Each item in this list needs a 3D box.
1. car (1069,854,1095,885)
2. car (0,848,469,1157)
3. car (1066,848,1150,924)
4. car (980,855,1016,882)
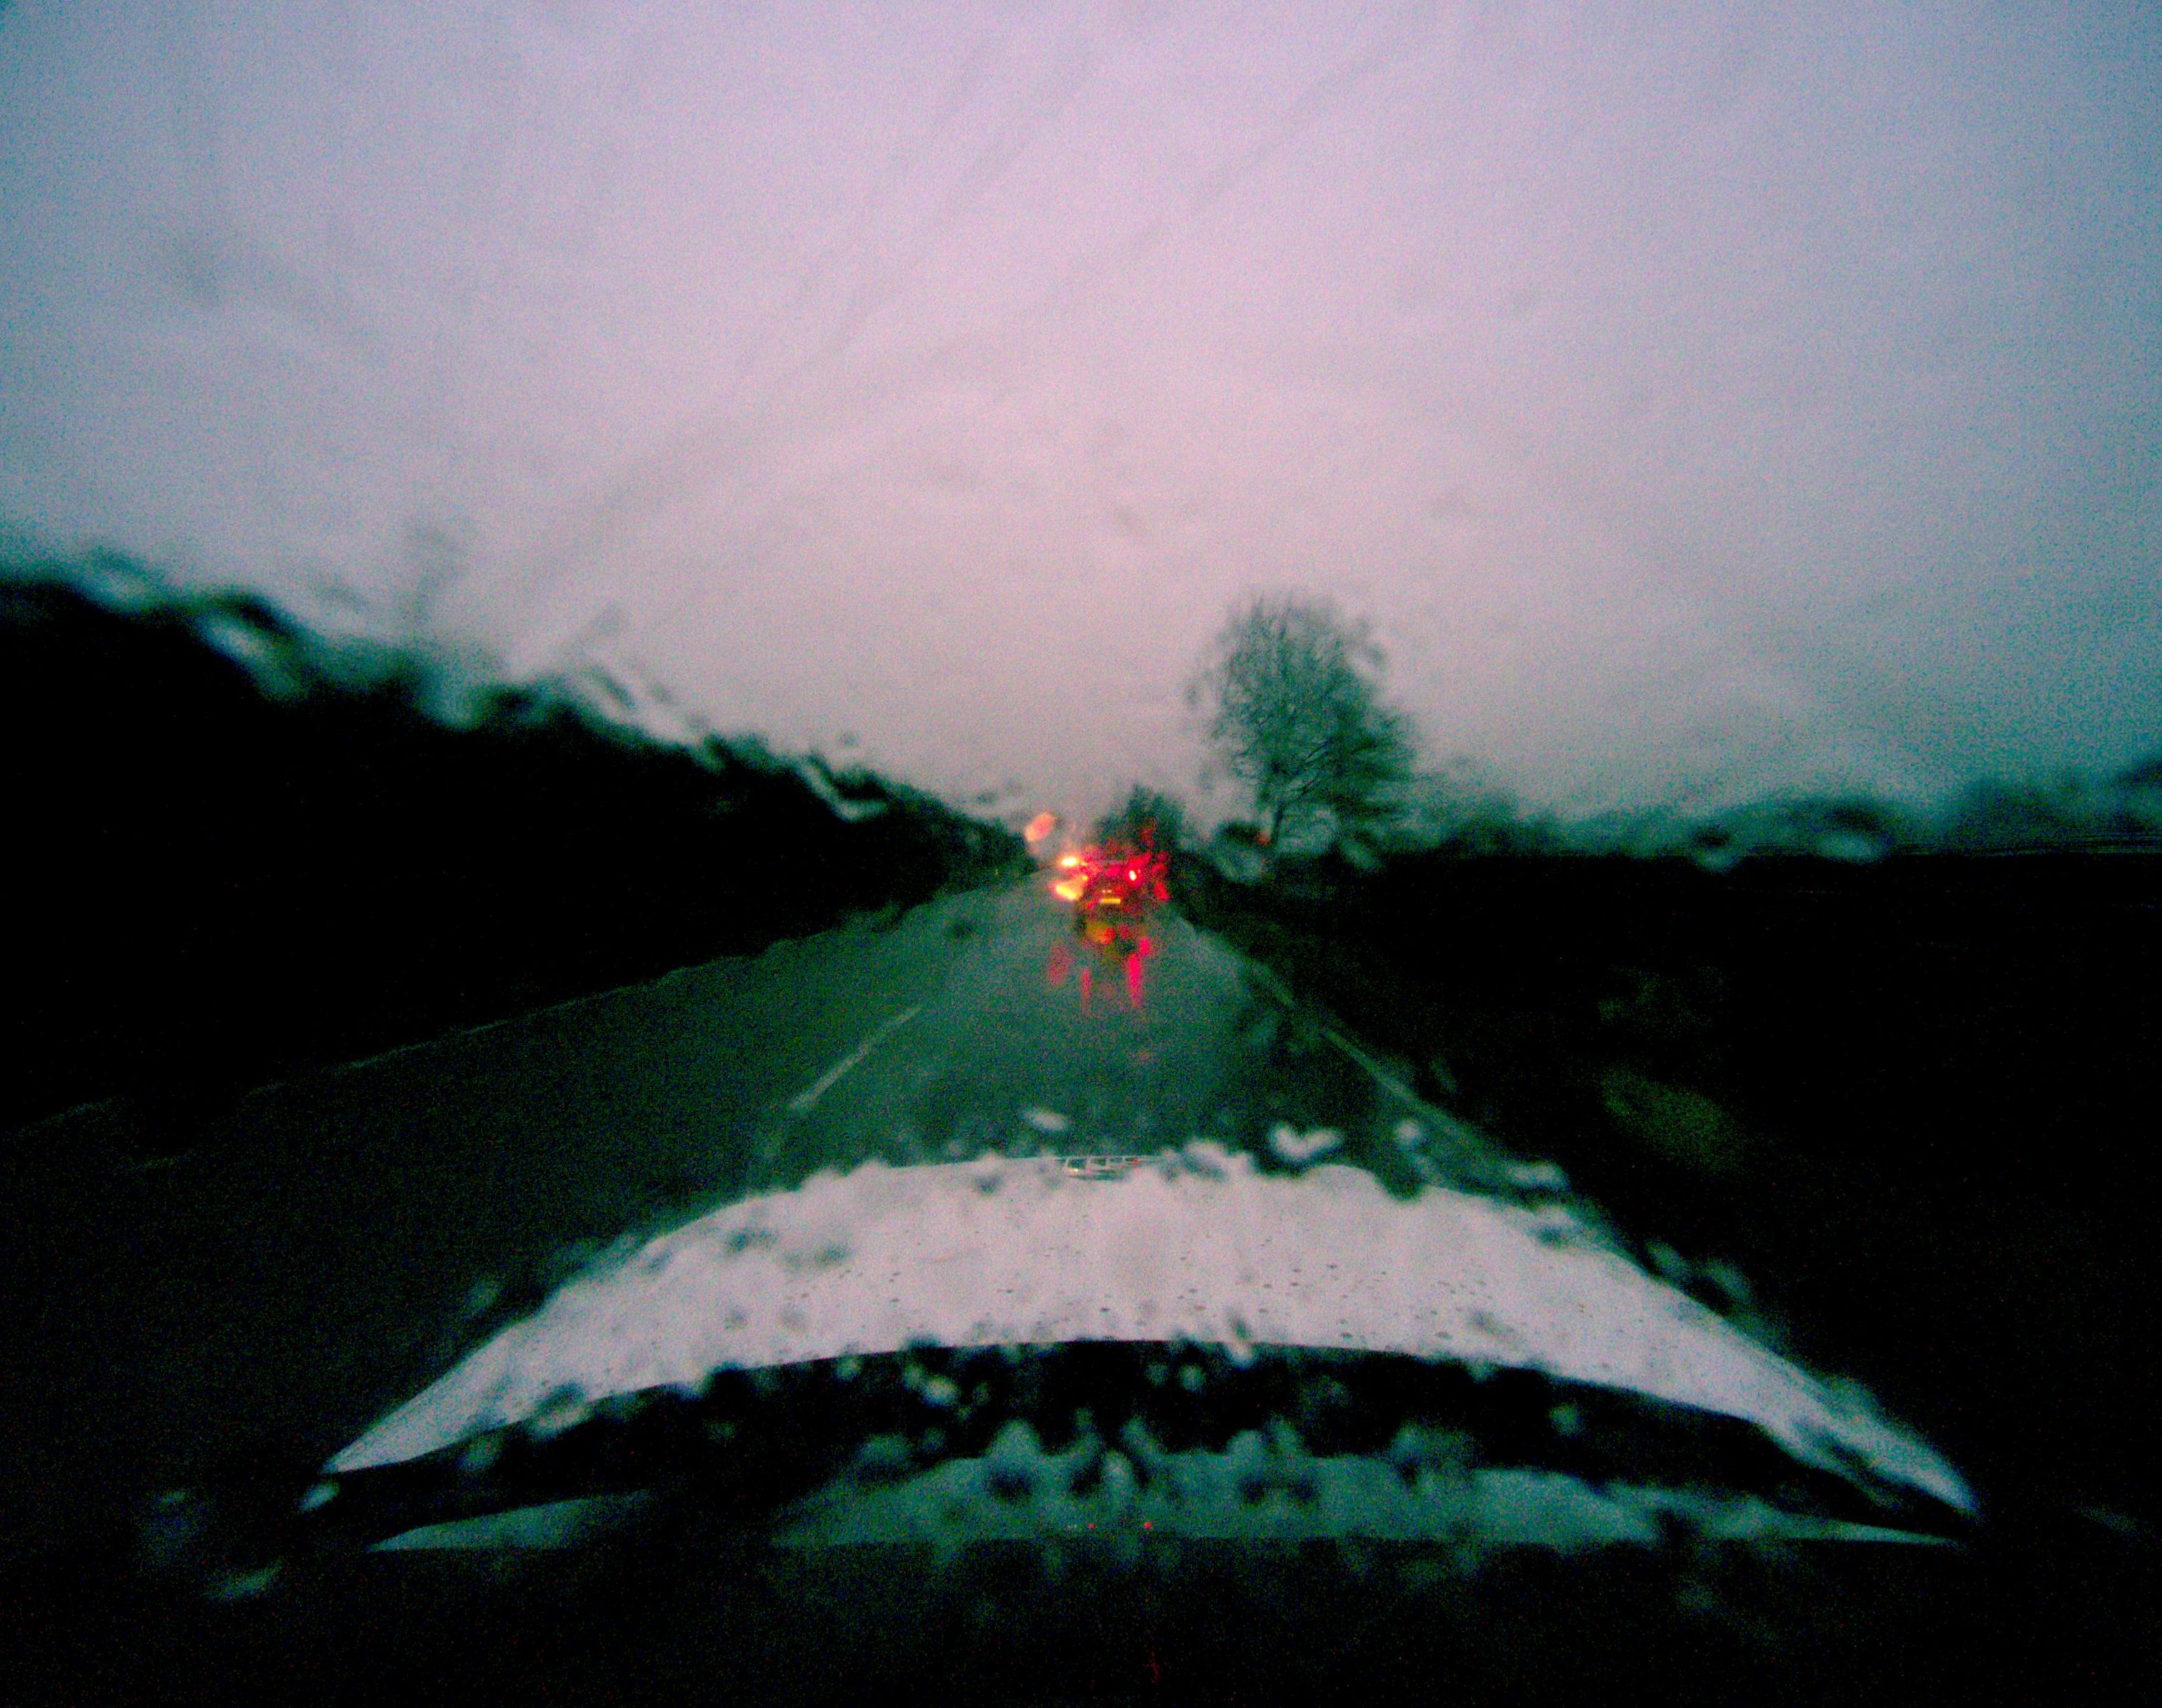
[{"bbox_3d":[0.070,0.985,51.448,1.569,1.875,3.709,0,-1,1],"label":"car"},{"bbox_3d":[-6.501,0.816,5.513,1.770,1.609,3.774,-2,-1,1],"label":"car"},{"bbox_3d":[0.665,0.776,21.291,1.986,1.785,4.000,0,-1,1],"label":"car"},{"bbox_3d":[-5.624,0.964,55.434,1.986,1.785,4.000,0,-1,1],"label":"car"}]
